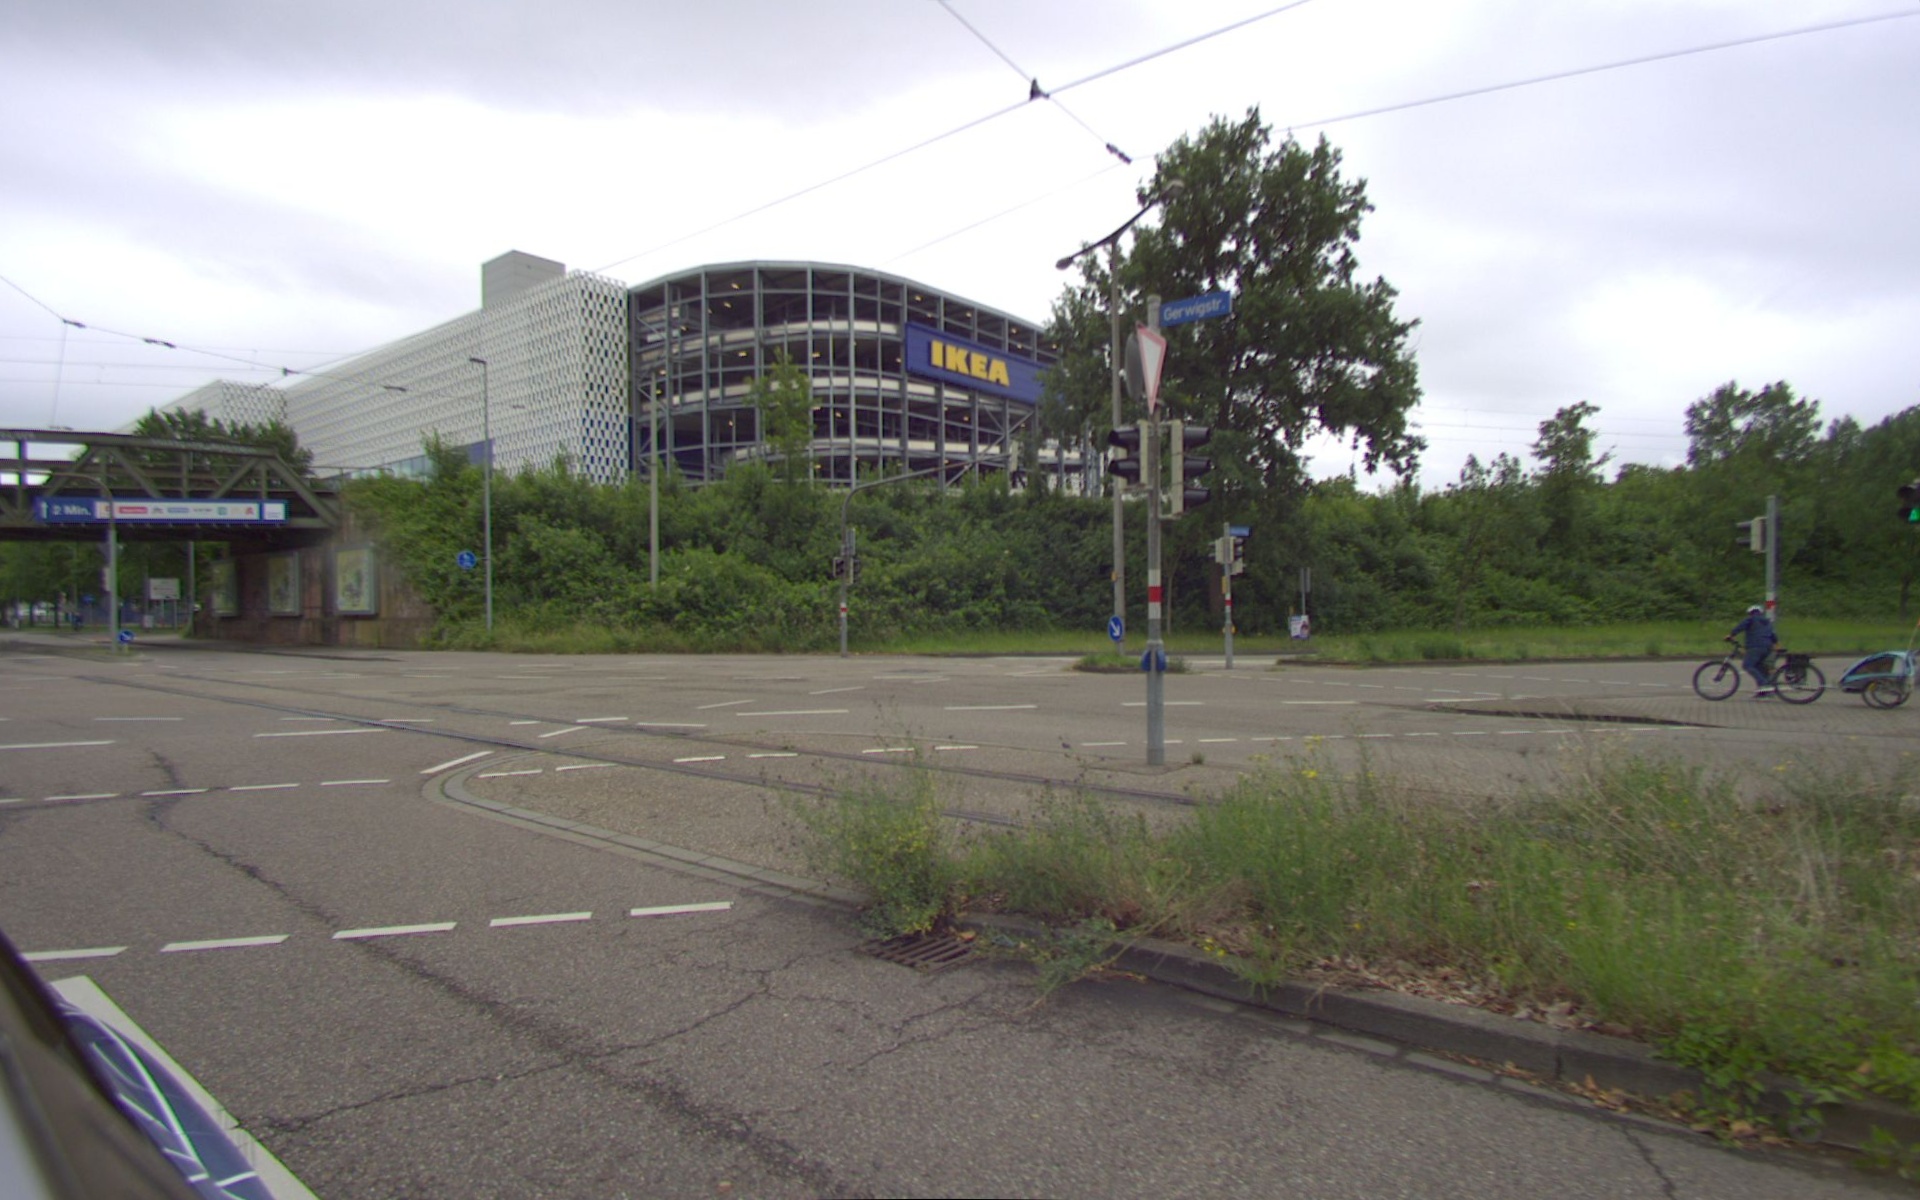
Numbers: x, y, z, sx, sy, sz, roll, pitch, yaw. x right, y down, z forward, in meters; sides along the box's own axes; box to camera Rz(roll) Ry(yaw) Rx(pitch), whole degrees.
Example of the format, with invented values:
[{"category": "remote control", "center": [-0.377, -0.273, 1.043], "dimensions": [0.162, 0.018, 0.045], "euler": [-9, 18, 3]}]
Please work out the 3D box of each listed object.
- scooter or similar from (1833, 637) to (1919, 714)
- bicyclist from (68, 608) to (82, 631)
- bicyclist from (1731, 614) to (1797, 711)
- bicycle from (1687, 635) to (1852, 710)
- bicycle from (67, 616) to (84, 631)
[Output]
[{"category": "scooter or similar", "center": [14.166, 1.119, 15.195], "dimensions": [0.636, 1.070, 1.454], "euler": [-2, 1, -30]}, {"category": "bicyclist", "center": [-76.136, 1.669, 87.042], "dimensions": [1.019, 1.888, 0.695], "euler": [0, 2, 39]}, {"category": "bicyclist", "center": [13.296, 1.013, 16.737], "dimensions": [0.636, 1.529, 0.628], "euler": [-2, 1, -30]}, {"category": "bicycle", "center": [13.313, 1.161, 16.713], "dimensions": [0.636, 1.070, 2.007], "euler": [-2, 1, -30]}, {"category": "bicycle", "center": [-76.092, 2.003, 87.019], "dimensions": [2.368, 1.195, 0.706], "euler": [0, 2, 40]}]
